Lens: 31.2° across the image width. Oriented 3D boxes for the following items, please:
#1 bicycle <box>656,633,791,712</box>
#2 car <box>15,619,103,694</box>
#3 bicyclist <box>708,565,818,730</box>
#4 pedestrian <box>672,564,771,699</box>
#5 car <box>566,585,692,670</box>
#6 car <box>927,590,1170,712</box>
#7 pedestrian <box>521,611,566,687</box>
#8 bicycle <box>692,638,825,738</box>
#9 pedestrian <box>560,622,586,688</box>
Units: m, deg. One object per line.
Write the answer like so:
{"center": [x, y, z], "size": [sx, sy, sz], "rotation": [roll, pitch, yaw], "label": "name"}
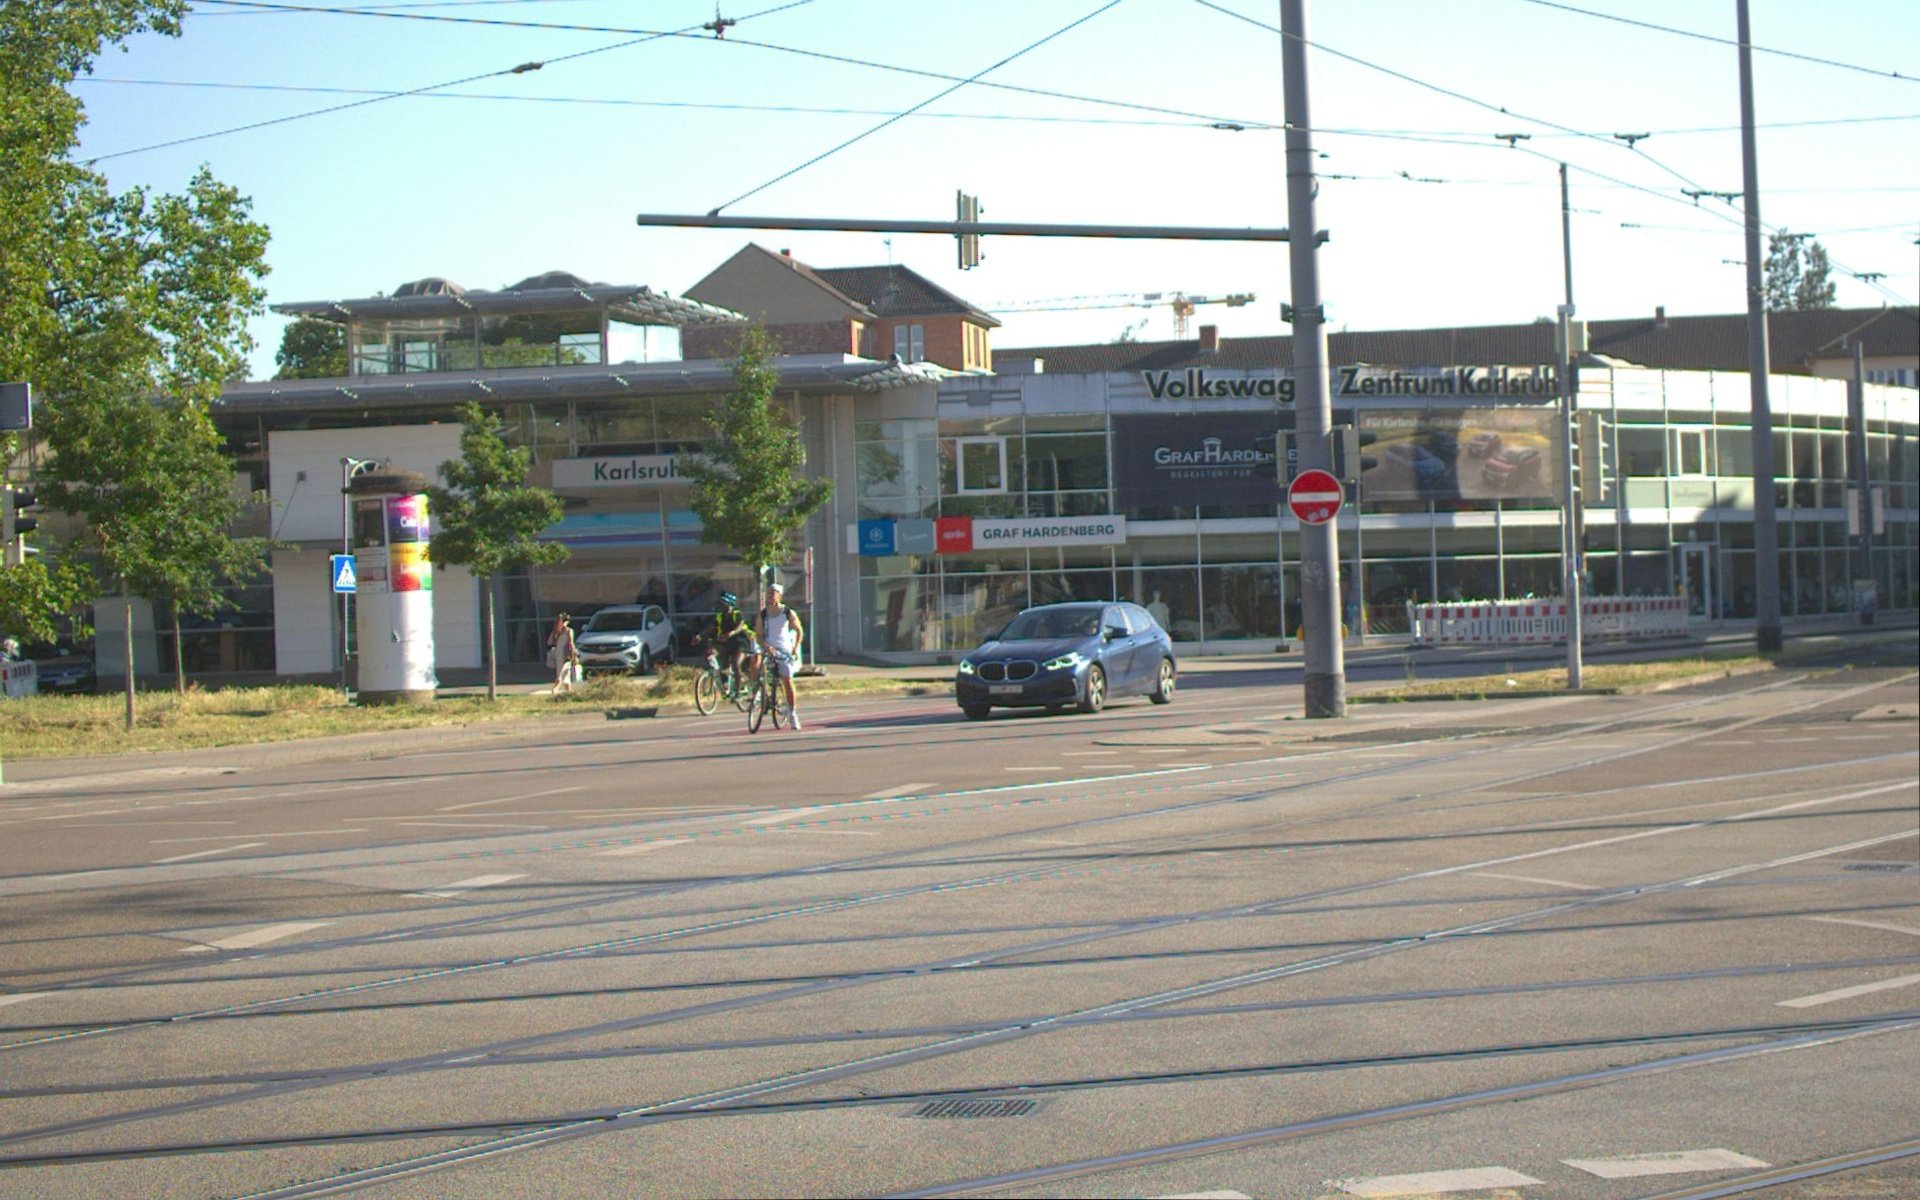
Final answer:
{"center": [-3.595, 1.089, 52.506], "size": [1.032, 1.119, 2.528], "rotation": [1, 1, 22], "label": "bicycle"}
{"center": [-22.770, 1.412, 86.779], "size": [1.794, 1.505, 4.002], "rotation": [1, 4, -20], "label": "car"}
{"center": [-2.488, 0.592, 43.495], "size": [1.031, 2.007, 1.144], "rotation": [-3, 0, 11], "label": "bicyclist"}
{"center": [-3.627, 0.469, 52.392], "size": [1.032, 2.007, 1.269], "rotation": [1, 0, 22], "label": "pedestrian"}
{"center": [-8.103, 0.655, 84.560], "size": [1.994, 2.007, 3.998], "rotation": [1, 1, 11], "label": "car"}
{"center": [1.208, 0.641, 44.950], "size": [1.995, 1.448, 3.996], "rotation": [-2, 0, 20], "label": "car"}
{"center": [-8.464, 0.999, 69.929], "size": [0.721, 1.510, 0.831], "rotation": [-2, 0, 3], "label": "pedestrian"}
{"center": [-2.523, 1.094, 43.401], "size": [1.031, 1.119, 2.530], "rotation": [-3, 0, 11], "label": "bicycle"}
{"center": [-7.875, 1.114, 69.966], "size": [0.410, 1.310, 0.573], "rotation": [-2, 0, 3], "label": "pedestrian"}
